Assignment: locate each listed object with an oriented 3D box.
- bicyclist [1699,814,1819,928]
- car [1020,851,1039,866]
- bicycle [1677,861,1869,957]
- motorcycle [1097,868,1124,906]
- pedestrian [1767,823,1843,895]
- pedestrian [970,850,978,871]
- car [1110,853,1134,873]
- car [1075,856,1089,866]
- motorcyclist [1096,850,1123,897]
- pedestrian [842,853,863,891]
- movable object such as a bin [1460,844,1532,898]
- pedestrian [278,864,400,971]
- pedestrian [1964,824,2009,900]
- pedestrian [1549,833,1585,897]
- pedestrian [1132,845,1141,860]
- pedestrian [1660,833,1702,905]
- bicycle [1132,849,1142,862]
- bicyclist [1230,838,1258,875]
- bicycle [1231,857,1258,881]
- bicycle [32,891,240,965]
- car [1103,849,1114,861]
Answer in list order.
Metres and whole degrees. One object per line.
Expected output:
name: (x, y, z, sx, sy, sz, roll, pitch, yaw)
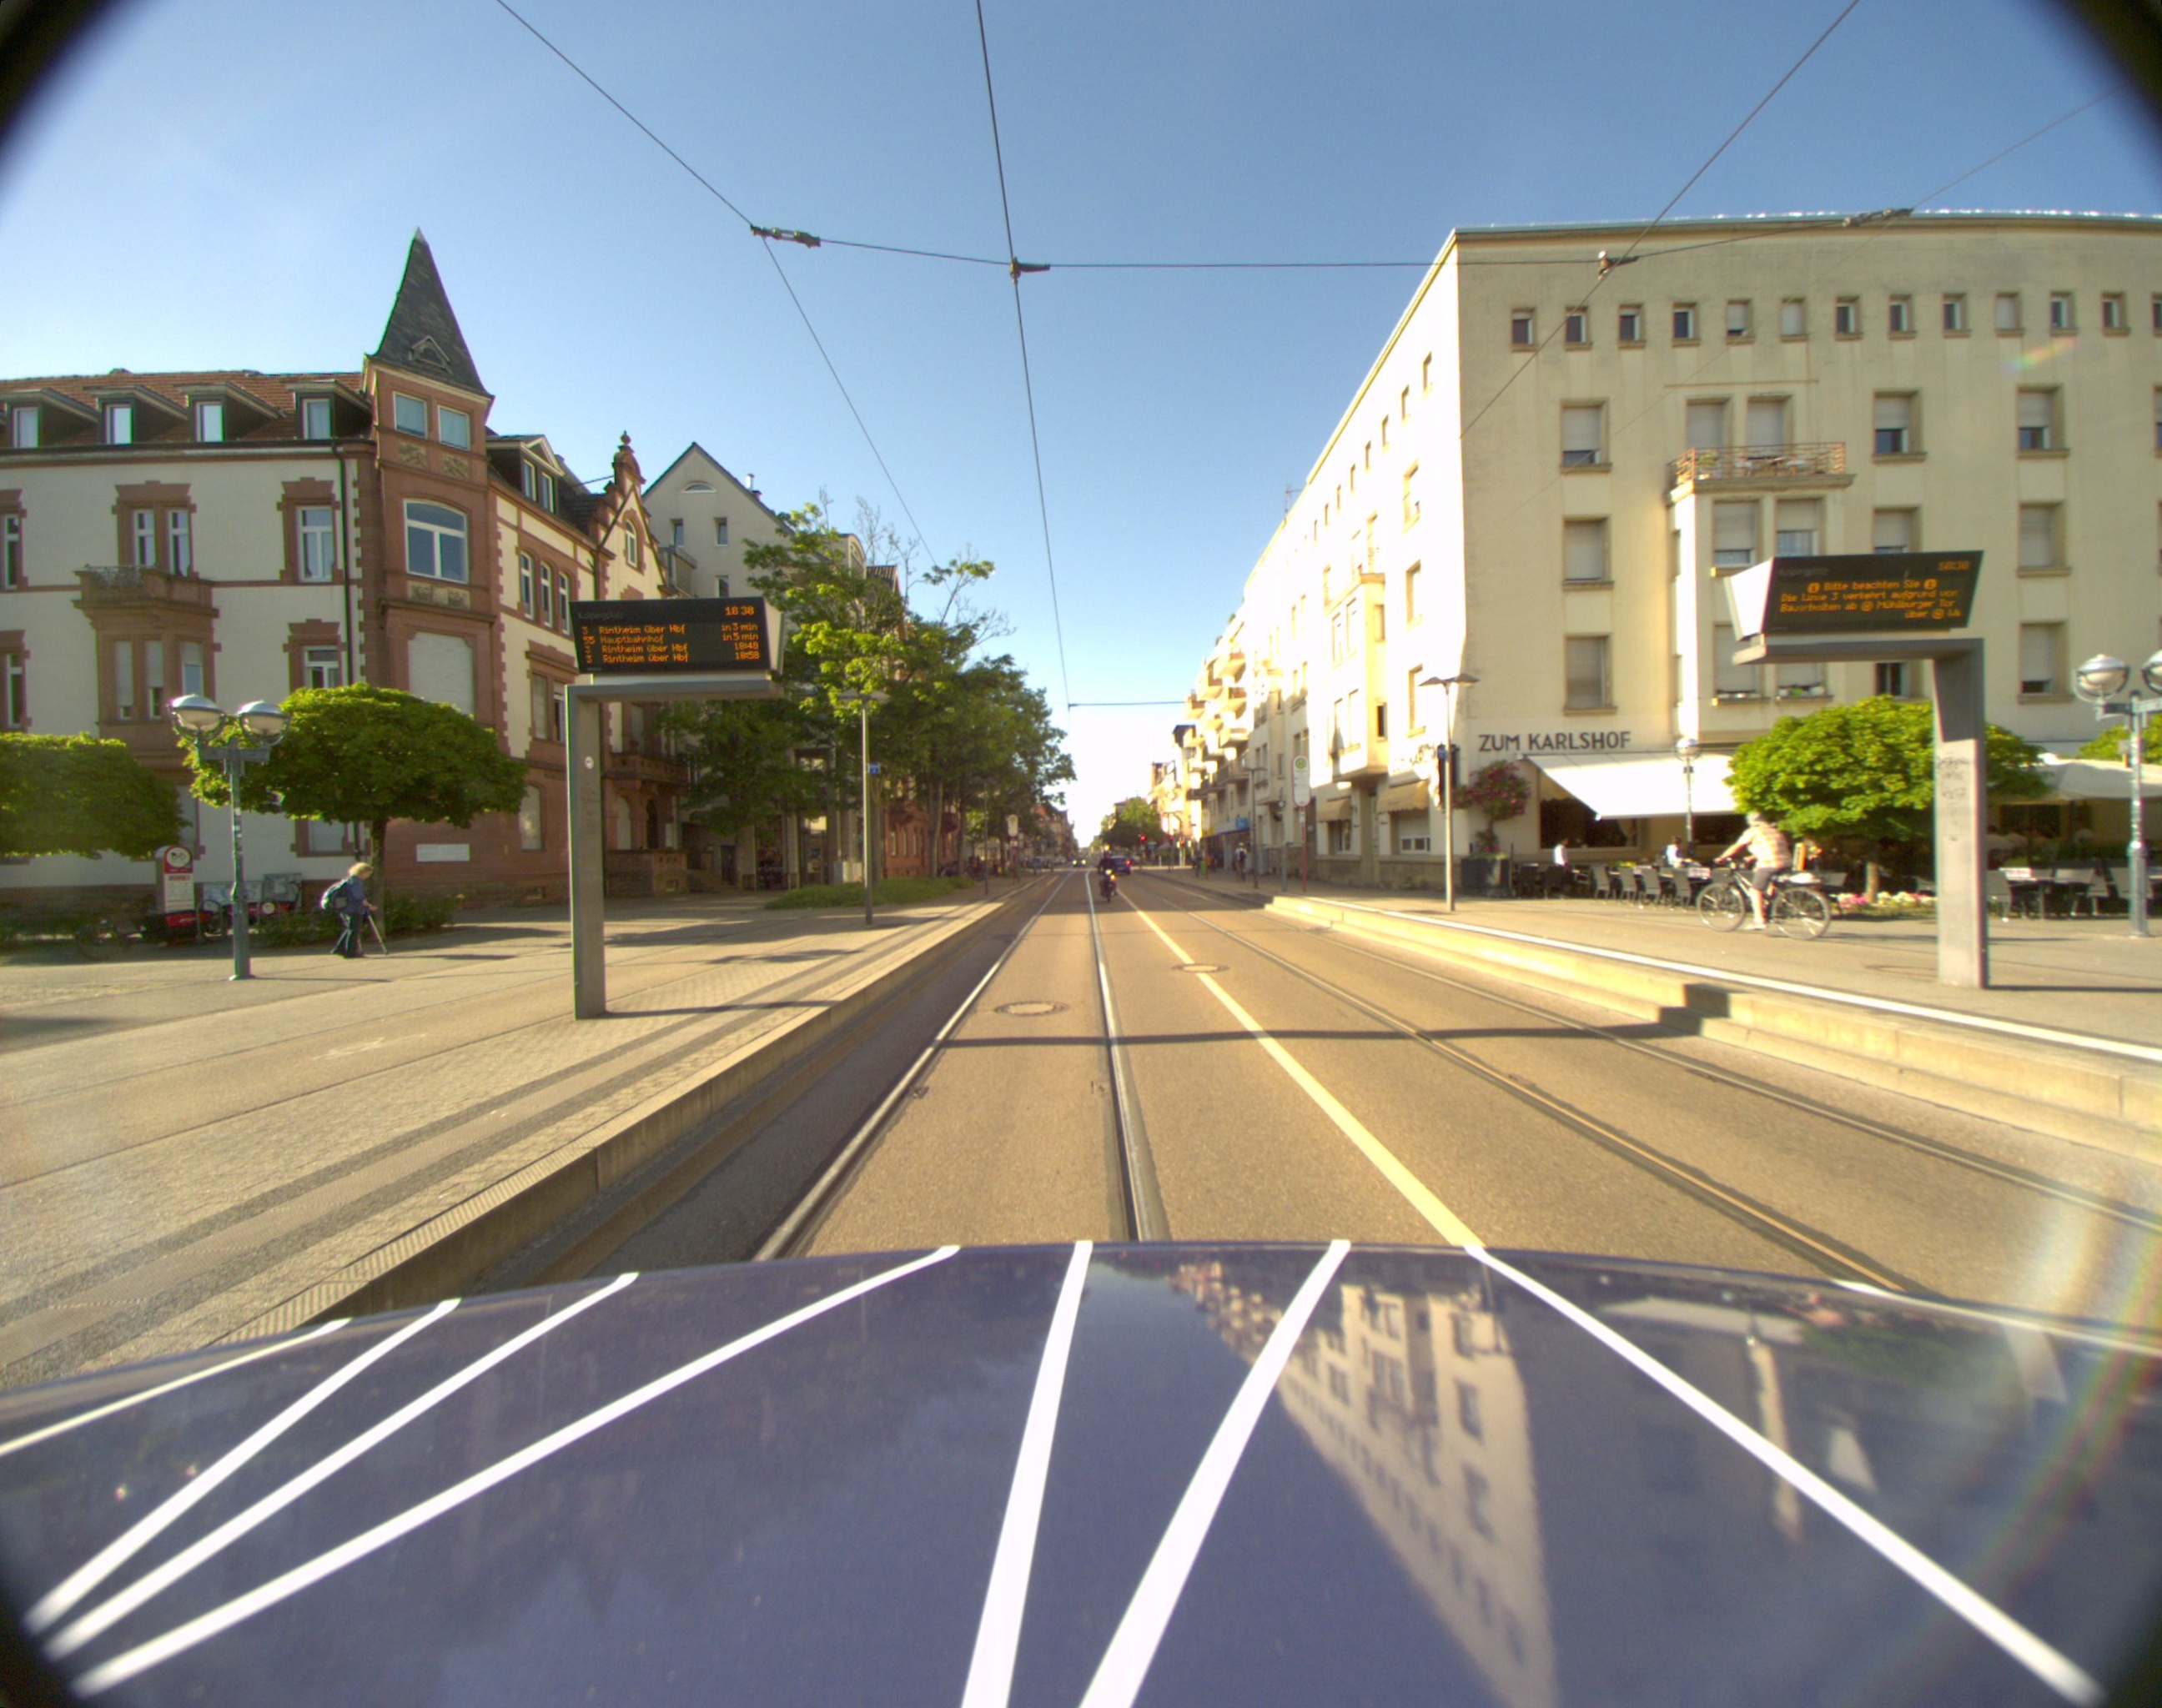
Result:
bicyclist: (9.207, 0.219, 10.352, 0.830, 1.447, 0.877, -2, 1, -2)
car: (-7.172, 0.594, 105.810, 1.998, 2.002, 4.001, -1, 0, 4)
bicycle: (9.228, 0.683, 10.264, 0.730, 1.107, 1.976, -2, 1, -2)
motorcycle: (0.951, 1.042, 24.716, 0.799, 1.090, 2.429, -1, 0, 1)
pedestrian: (16.946, 0.110, 17.803, 1.066, 1.635, 0.756, -1, 1, -4)
pedestrian: (-10.167, 0.590, 72.060, 0.653, 2.002, 0.559, -1, 1, 3)
car: (3.181, 0.681, 59.848, 1.671, 1.479, 4.000, -2, 0, 0)
car: (0.145, 0.932, 107.993, 1.998, 1.318, 3.863, -1, 0, 1)
motorcyclist: (0.929, 0.606, 24.687, 0.821, 1.466, 1.114, -1, 1, 1)
pedestrian: (-10.708, 0.823, 35.569, 0.742, 1.725, 0.877, -2, 1, -6)
movable object such as a bin: (11.167, 0.451, 20.501, 1.319, 1.392, 1.128, -1, 1, -1)
pedestrian: (-12.370, 1.025, 12.712, 1.070, 1.659, 0.956, -2, 1, -12)
pedestrian: (22.137, 0.196, 18.580, 0.578, 1.813, 0.647, -2, 1, -36)
pedestrian: (12.630, 0.306, 19.766, 0.672, 1.634, 0.752, -1, -2, 27)
pedestrian: (7.612, -0.232, 104.043, 1.176, 2.002, 1.022, -1, 1, 6)
pedestrian: (13.950, 0.354, 17.664, 0.672, 1.634, 0.678, -2, -3, 42)
bicycle: (7.689, 0.222, 104.267, 1.227, 1.719, 3.107, -1, 0, 3)
bicyclist: (7.965, 0.113, 37.114, 1.006, 1.783, 1.095, -1, 1, -6)
bicycle: (7.974, 0.711, 37.138, 0.714, 1.119, 2.035, -1, 0, -5)
bicycle: (-18.192, 1.375, 14.785, 0.790, 1.062, 2.804, -2, 2, -8)
car: (4.988, 0.178, 138.408, 1.877, 2.105, 4.000, -2, 1, 2)
